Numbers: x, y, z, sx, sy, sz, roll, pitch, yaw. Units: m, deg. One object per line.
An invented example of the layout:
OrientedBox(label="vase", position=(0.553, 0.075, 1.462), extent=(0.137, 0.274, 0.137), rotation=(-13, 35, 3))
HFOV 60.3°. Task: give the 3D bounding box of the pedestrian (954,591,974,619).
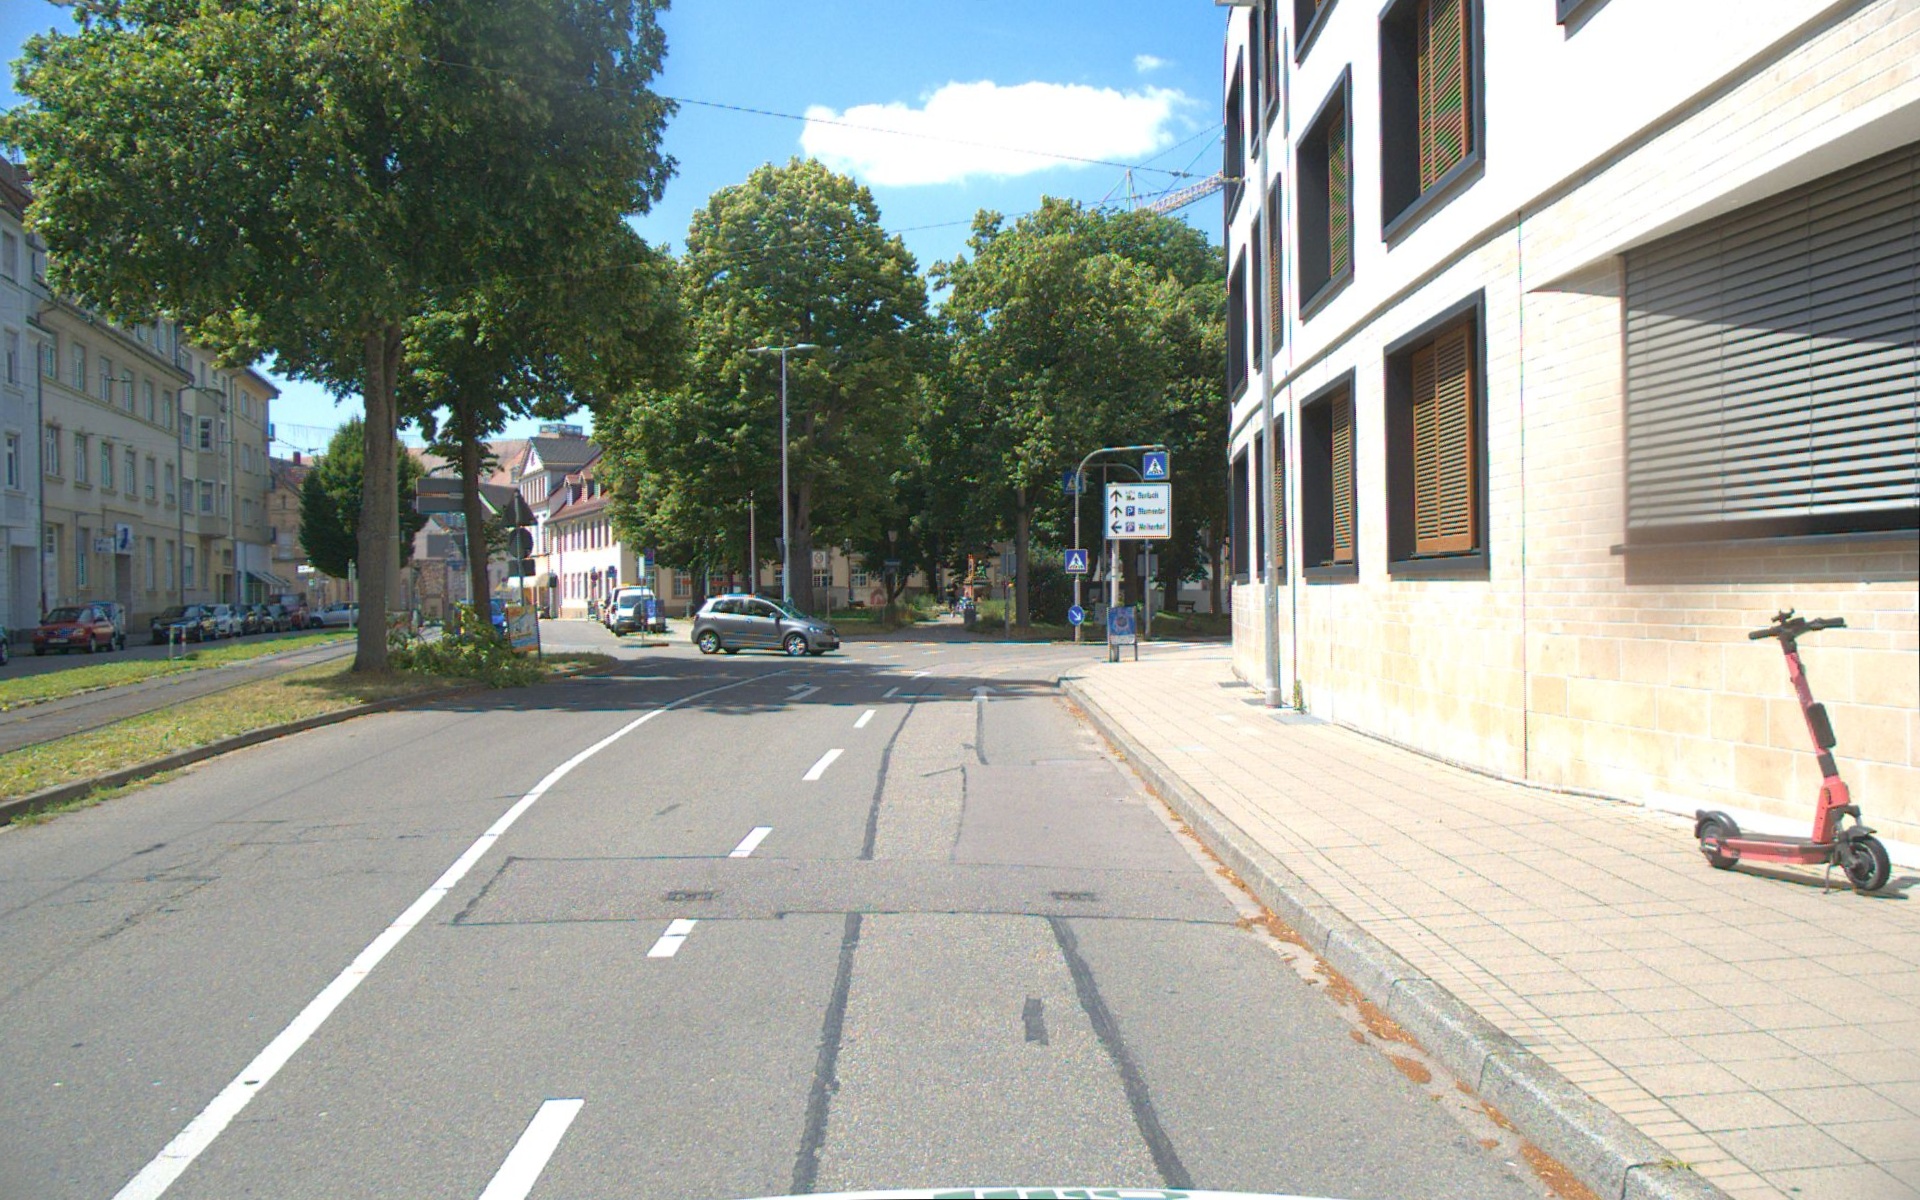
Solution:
OrientedBox(label="pedestrian", position=(0.179, 0.227, 77.140), extent=(0.887, 1.274, 1.148), rotation=(0, 1, 1))

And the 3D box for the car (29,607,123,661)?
OrientedBox(label="car", position=(-26.487, 1.002, 49.660), extent=(1.545, 1.476, 3.613), rotation=(-2, 0, -14))

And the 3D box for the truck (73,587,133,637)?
OrientedBox(label="truck", position=(-27.794, 0.383, 53.688), extent=(1.107, 1.520, 2.584), rotation=(-2, 0, -15))

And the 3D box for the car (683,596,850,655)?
OrientedBox(label="car", position=(-5.282, 0.675, 45.335), extent=(4.140, 1.561, 1.911), rotation=(0, -1, 16))

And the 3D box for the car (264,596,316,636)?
OrientedBox(label="car", position=(-35.641, 0.831, 88.111), extent=(1.822, 1.944, 4.754), rotation=(-2, 0, -14))

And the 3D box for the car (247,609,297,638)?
OrientedBox(label="car", position=(-34.537, 1.163, 83.147), extent=(1.614, 1.300, 4.249), rotation=(-3, 0, -14))

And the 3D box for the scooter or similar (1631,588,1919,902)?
OrientedBox(label="scooter or similar", position=(3.753, 0.610, 7.614), extent=(0.570, 1.282, 1.365), rotation=(-3, 0, -8))

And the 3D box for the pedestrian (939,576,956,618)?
OrientedBox(label="pedestrian", position=(-0.583, -0.145, 77.877), extent=(0.732, 1.944, 0.684), rotation=(0, 1, 1))

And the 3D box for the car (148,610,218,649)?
OrientedBox(label="car", position=(-30.077, 1.112, 64.121), extent=(1.658, 1.384, 3.843), rotation=(-3, 0, -14))

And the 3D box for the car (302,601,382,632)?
OrientedBox(label="car", position=(-35.176, 0.918, 94.230), extent=(4.138, 1.531, 1.994), rotation=(-3, 0, -18))

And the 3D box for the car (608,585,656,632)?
OrientedBox(label="car", position=(-14.791, 0.370, 74.352), extent=(2.013, 2.037, 5.232), rotation=(0, 0, -12))

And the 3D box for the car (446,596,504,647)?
OrientedBox(label="car", position=(-15.996, 0.674, 54.598), extent=(1.780, 1.518, 3.982), rotation=(-1, 1, -16))

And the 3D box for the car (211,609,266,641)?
OrientedBox(label="car", position=(-32.444, 1.112, 74.465), extent=(1.658, 1.300, 3.277), rotation=(-3, 0, -14))

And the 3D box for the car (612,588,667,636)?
OrientedBox(label="car", position=(-12.865, 0.460, 66.234), extent=(1.960, 1.858, 4.406), rotation=(0, 0, -14))

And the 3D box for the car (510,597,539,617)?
OrientedBox(label="car", position=(-33.860, 0.518, 128.628), extent=(1.833, 1.512, 3.976), rotation=(0, 0, -20))

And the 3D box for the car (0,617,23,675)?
OrientedBox(label="car", position=(-24.008, 1.160, 39.418), extent=(1.777, 1.380, 4.235), rotation=(-3, 0, -14))

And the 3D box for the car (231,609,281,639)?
OrientedBox(label="car", position=(-33.523, 1.132, 78.802), extent=(1.575, 1.300, 3.573), rotation=(-3, 0, -14))

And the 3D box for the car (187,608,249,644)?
OrientedBox(label="car", position=(-31.262, 1.076, 69.761), extent=(1.658, 1.414, 3.843), rotation=(-3, 0, -14))
